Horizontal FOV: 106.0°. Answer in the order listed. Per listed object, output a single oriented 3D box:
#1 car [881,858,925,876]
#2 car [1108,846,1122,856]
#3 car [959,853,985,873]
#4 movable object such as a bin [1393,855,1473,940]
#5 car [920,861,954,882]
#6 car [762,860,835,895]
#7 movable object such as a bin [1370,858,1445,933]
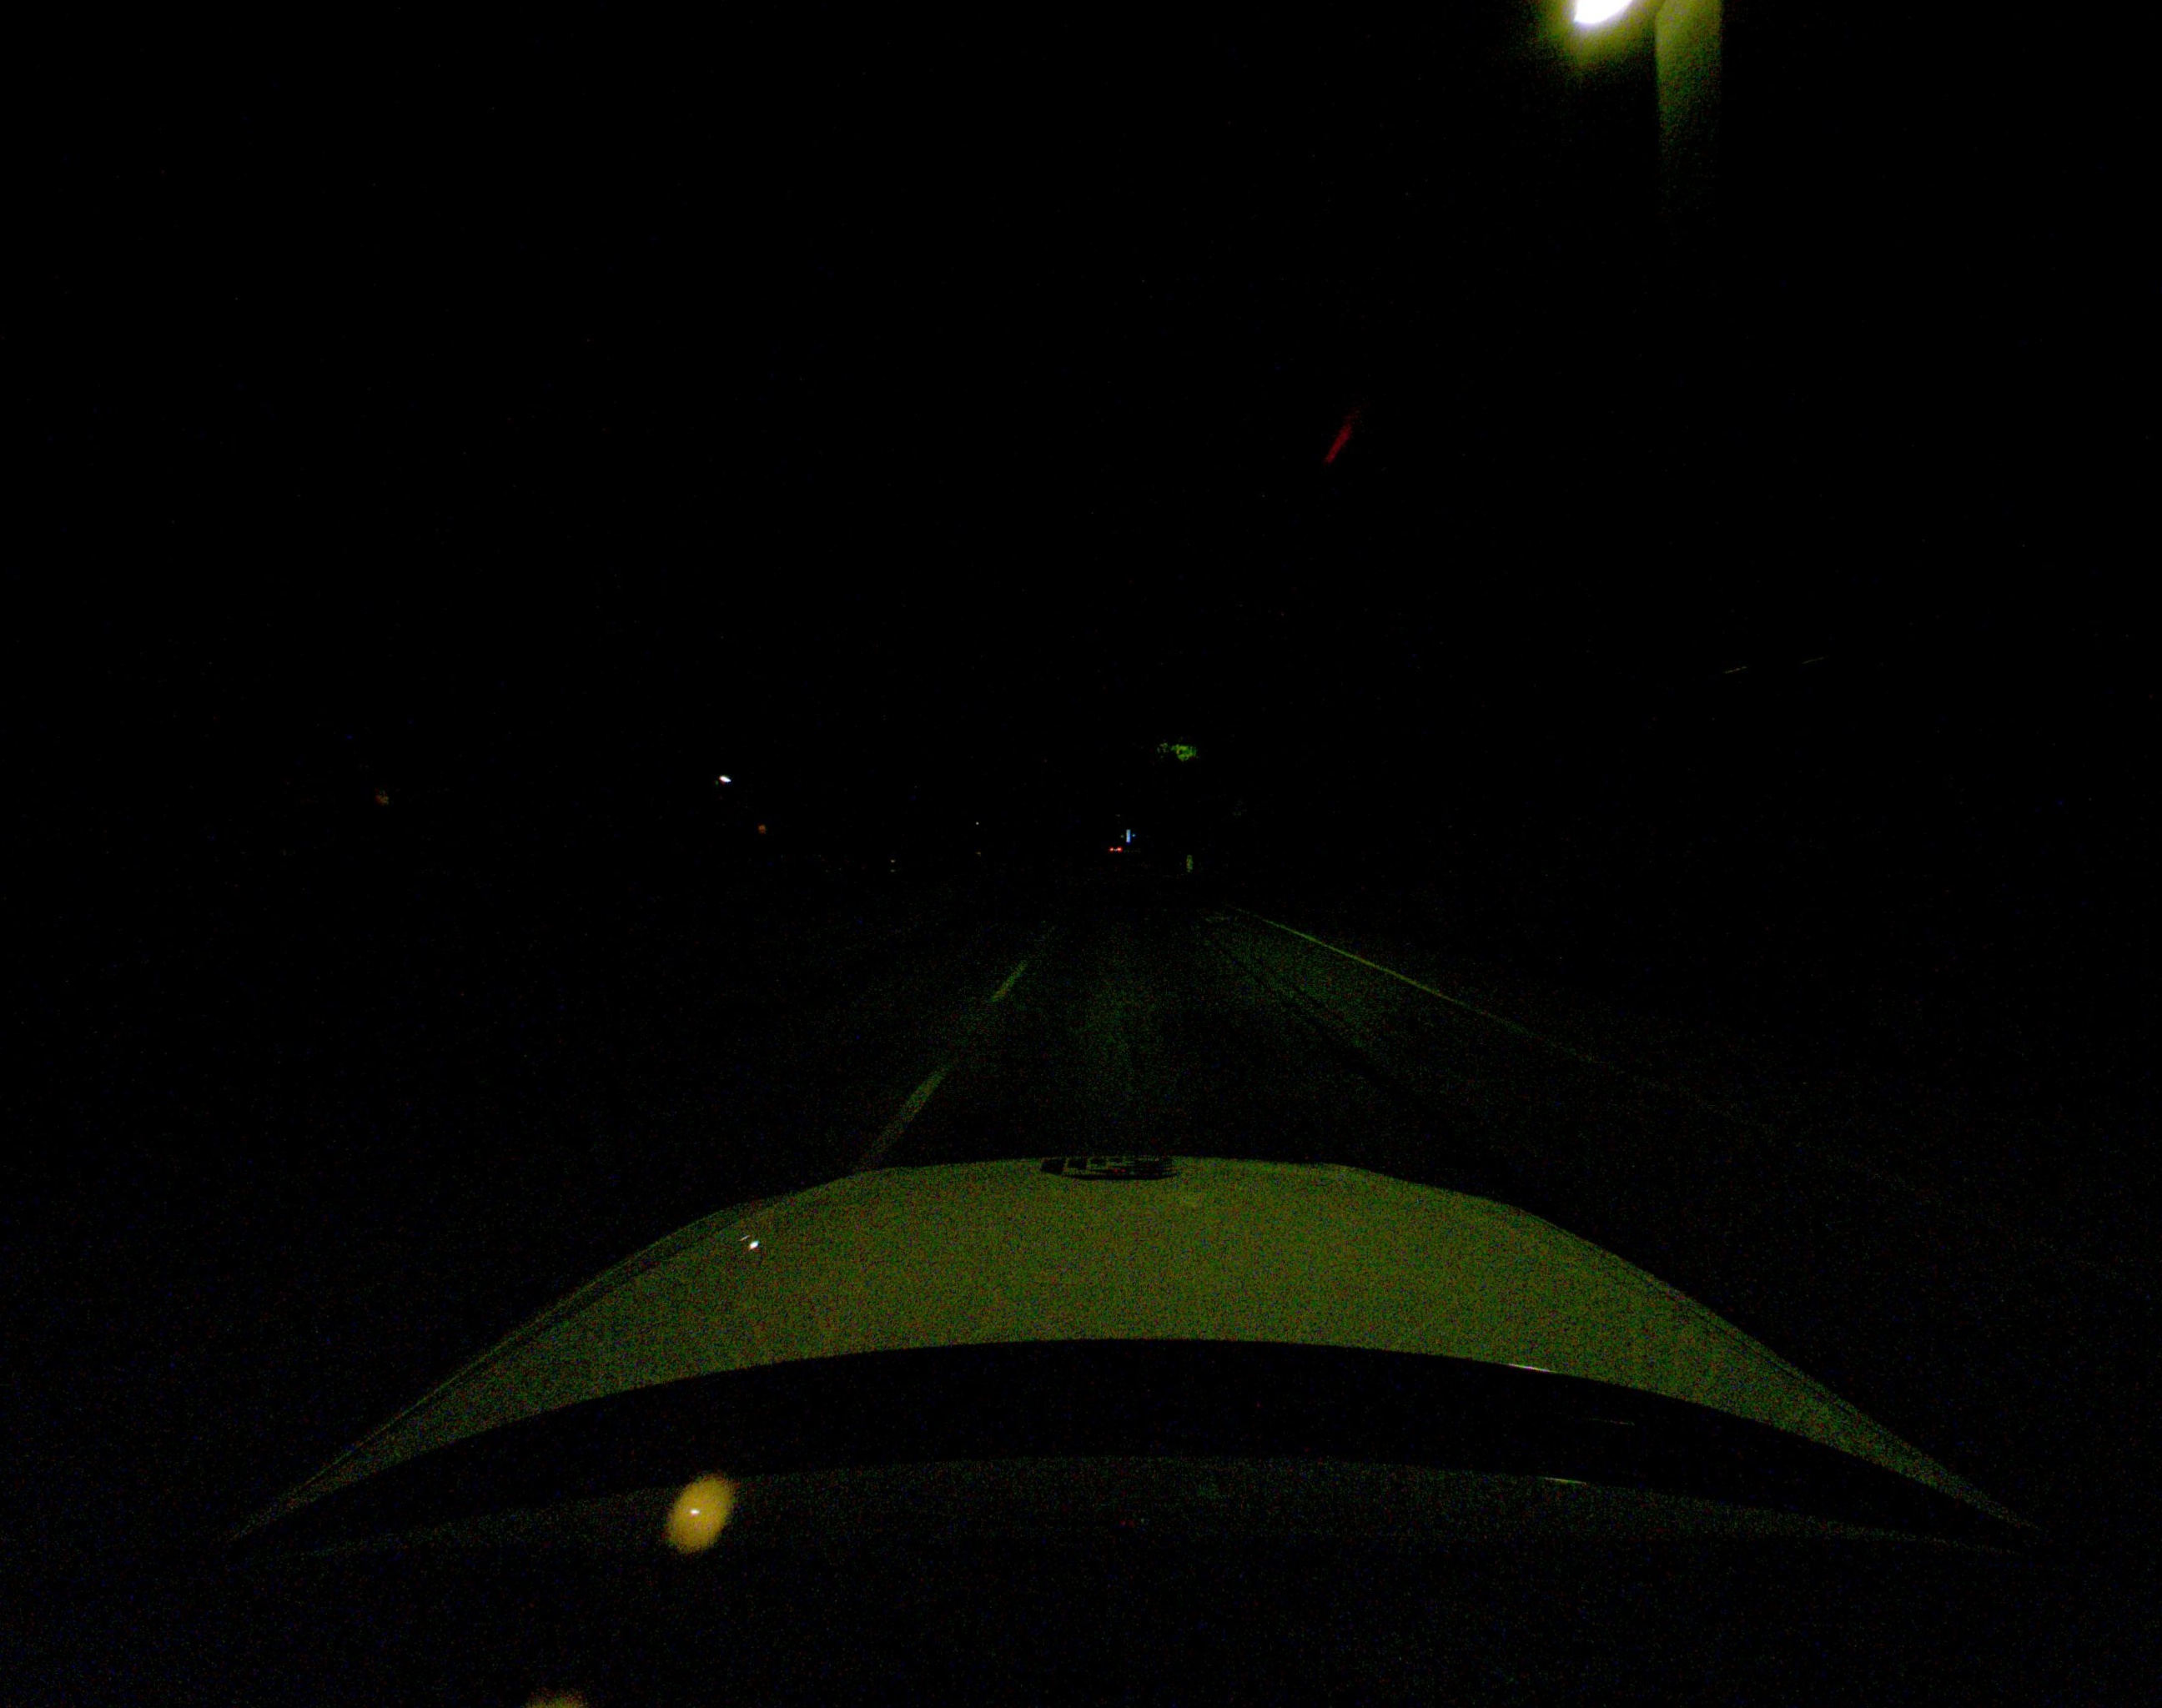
[{"bbox_3d":[-13.462,0.959,61.892,1.986,1.338,5.433,1,0,1],"label":"car"},{"bbox_3d":[5.921,-0.555,142.180,2.151,1.583,4.019,-1,-1,5],"label":"car"},{"bbox_3d":[-12.349,0.964,92.476,2.084,2.013,4.001,-6,0,1],"label":"car"},{"bbox_3d":[5.140,0.616,11.937,0.830,1.181,0.829,-2,0,4],"label":"movable object such as a bin"},{"bbox_3d":[-11.945,1.422,67.709,1.986,1.530,4.001,-2,0,1],"label":"car"},{"bbox_3d":[-14.390,1.156,41.846,1.986,1.628,4.678,-2,0,1],"label":"car"},{"bbox_3d":[5.123,0.633,12.814,0.853,1.119,0.841,-2,0,4],"label":"movable object such as a bin"}]
